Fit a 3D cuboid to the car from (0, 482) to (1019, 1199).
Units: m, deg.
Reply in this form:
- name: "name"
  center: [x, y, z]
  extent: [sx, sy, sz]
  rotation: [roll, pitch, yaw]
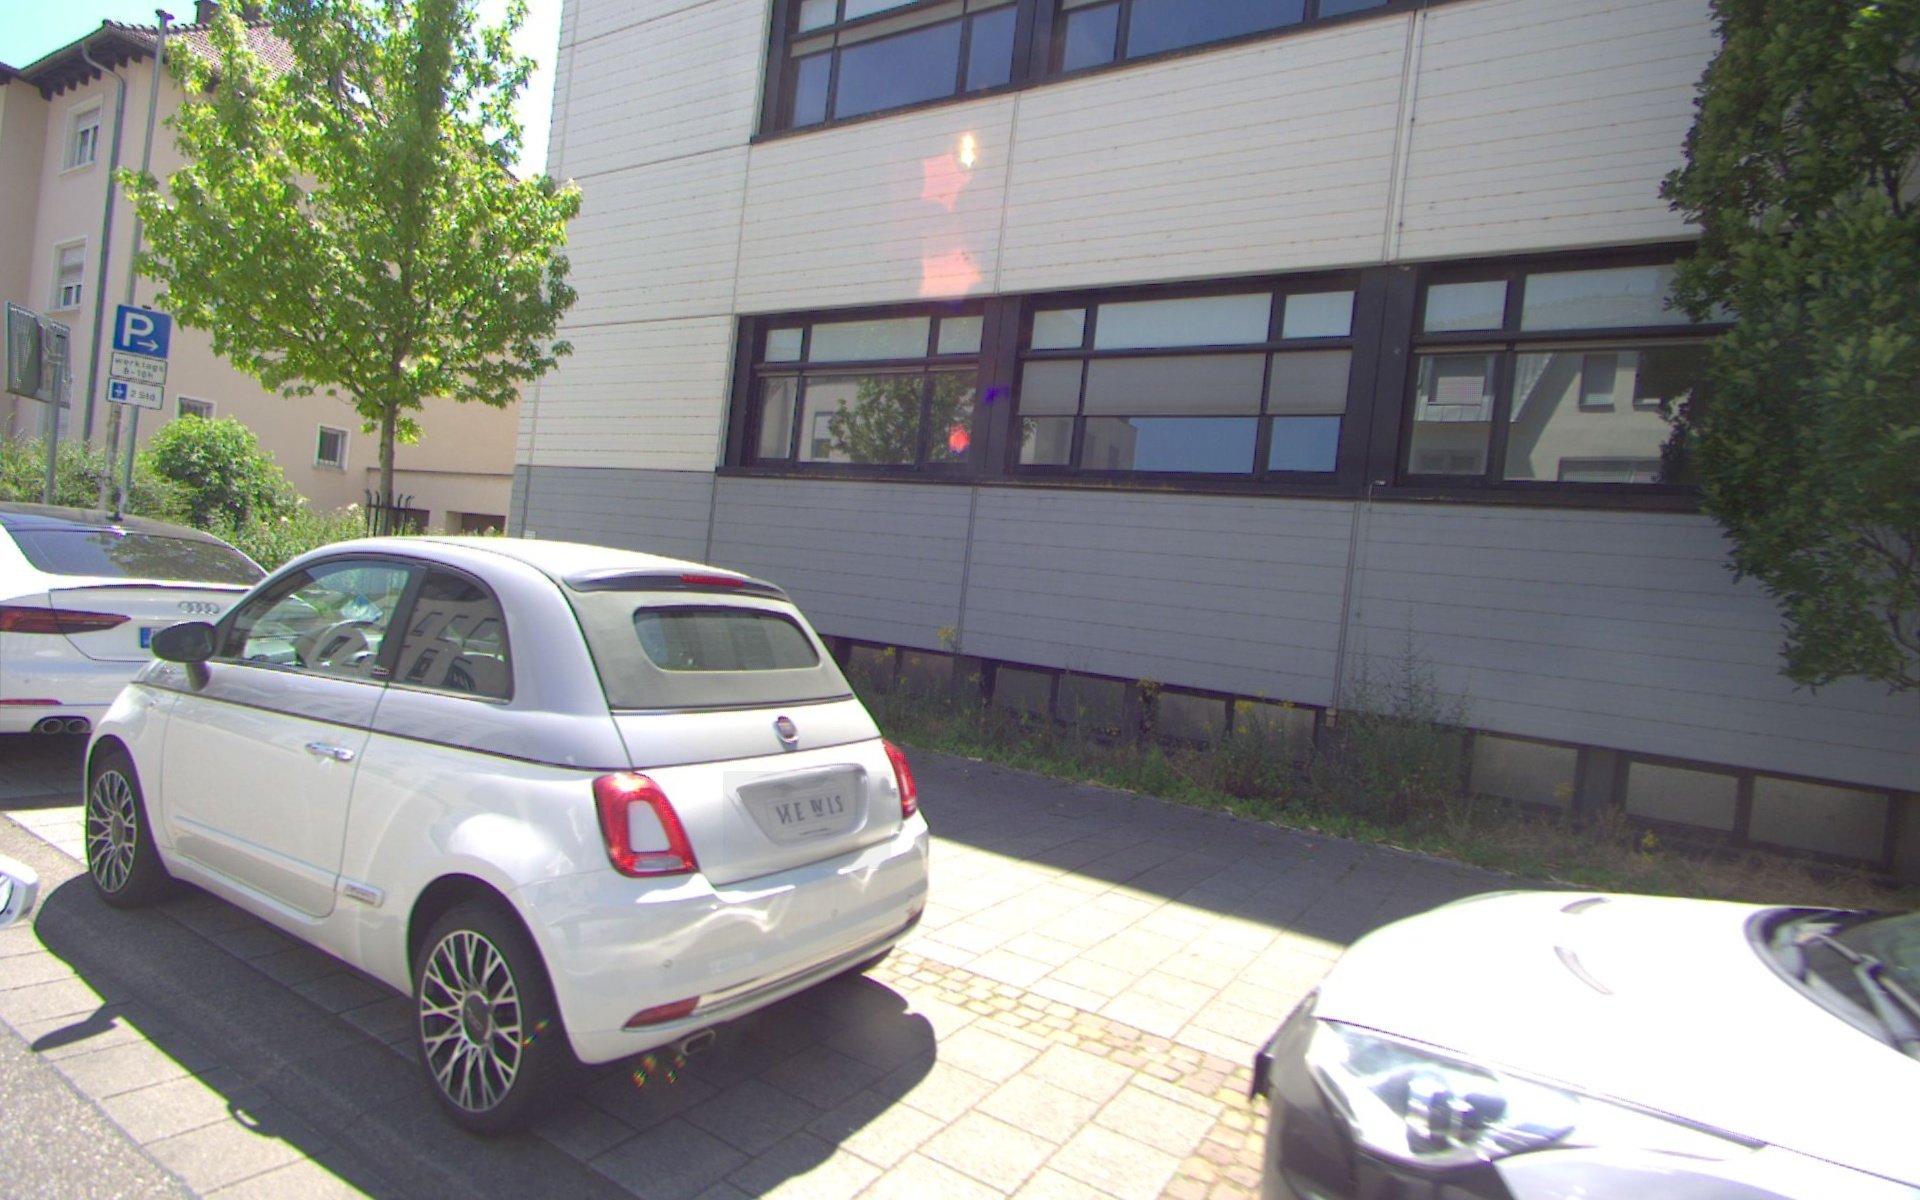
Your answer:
- name: "car"
  center: [-1.913, 0.495, 3.880]
  extent: [3.813, 1.517, 1.711]
  rotation: [6, 1, 32]

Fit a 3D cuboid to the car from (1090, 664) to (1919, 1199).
- name: "car"
  center: [2.380, 1.033, 1.458]
  extent: [3.935, 1.383, 1.837]
  rotation: [6, 1, 33]

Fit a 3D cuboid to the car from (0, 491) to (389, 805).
- name: "car"
  center: [-6.156, 0.052, 6.725]
  extent: [4.799, 1.488, 1.917]
  rotation: [6, 1, 31]
